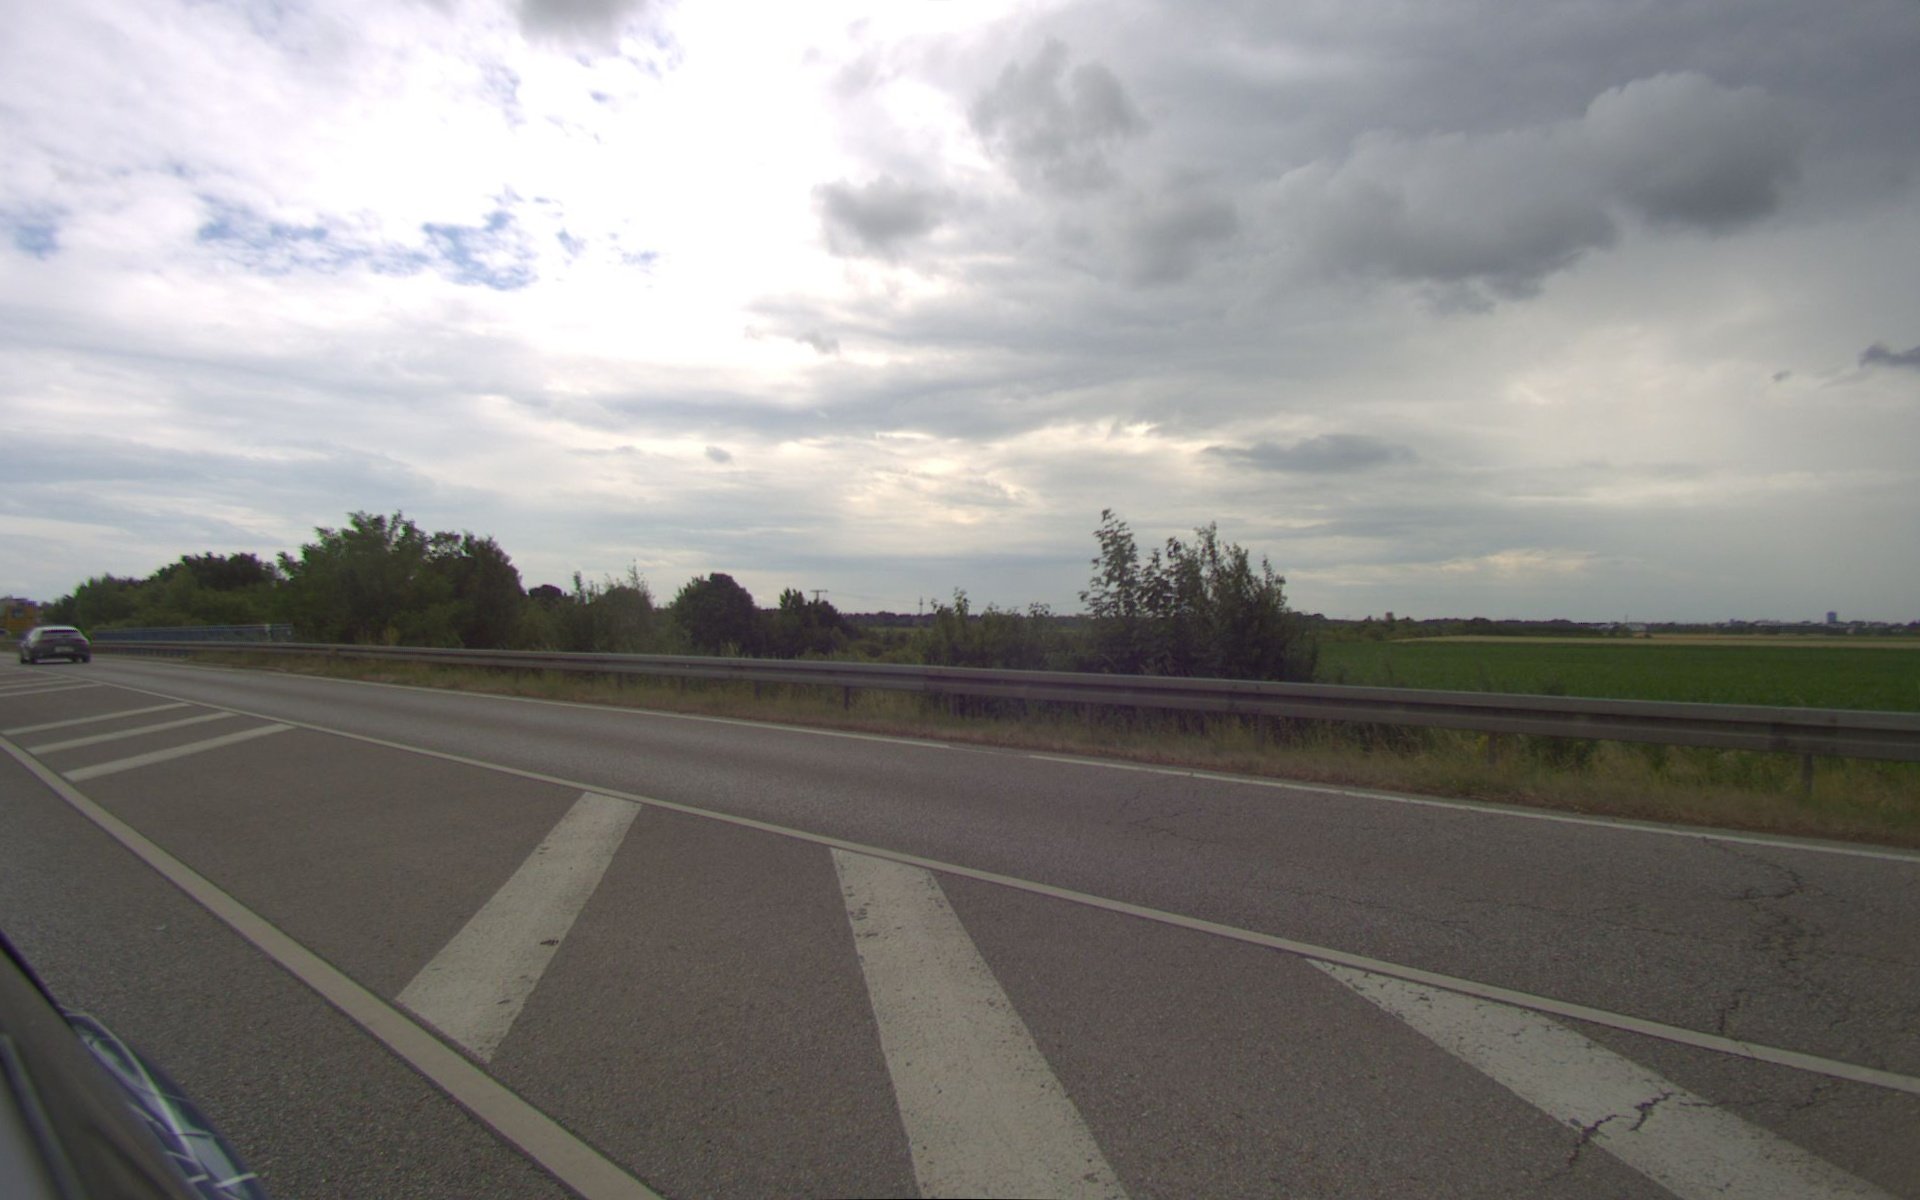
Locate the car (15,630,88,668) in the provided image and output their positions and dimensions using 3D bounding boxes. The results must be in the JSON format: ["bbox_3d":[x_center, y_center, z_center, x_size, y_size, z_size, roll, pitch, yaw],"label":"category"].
[{"bbox_3d":[-35.609,1.874,39.623,4.510,1.390,1.605,-1,-1,42],"label":"car"}]
